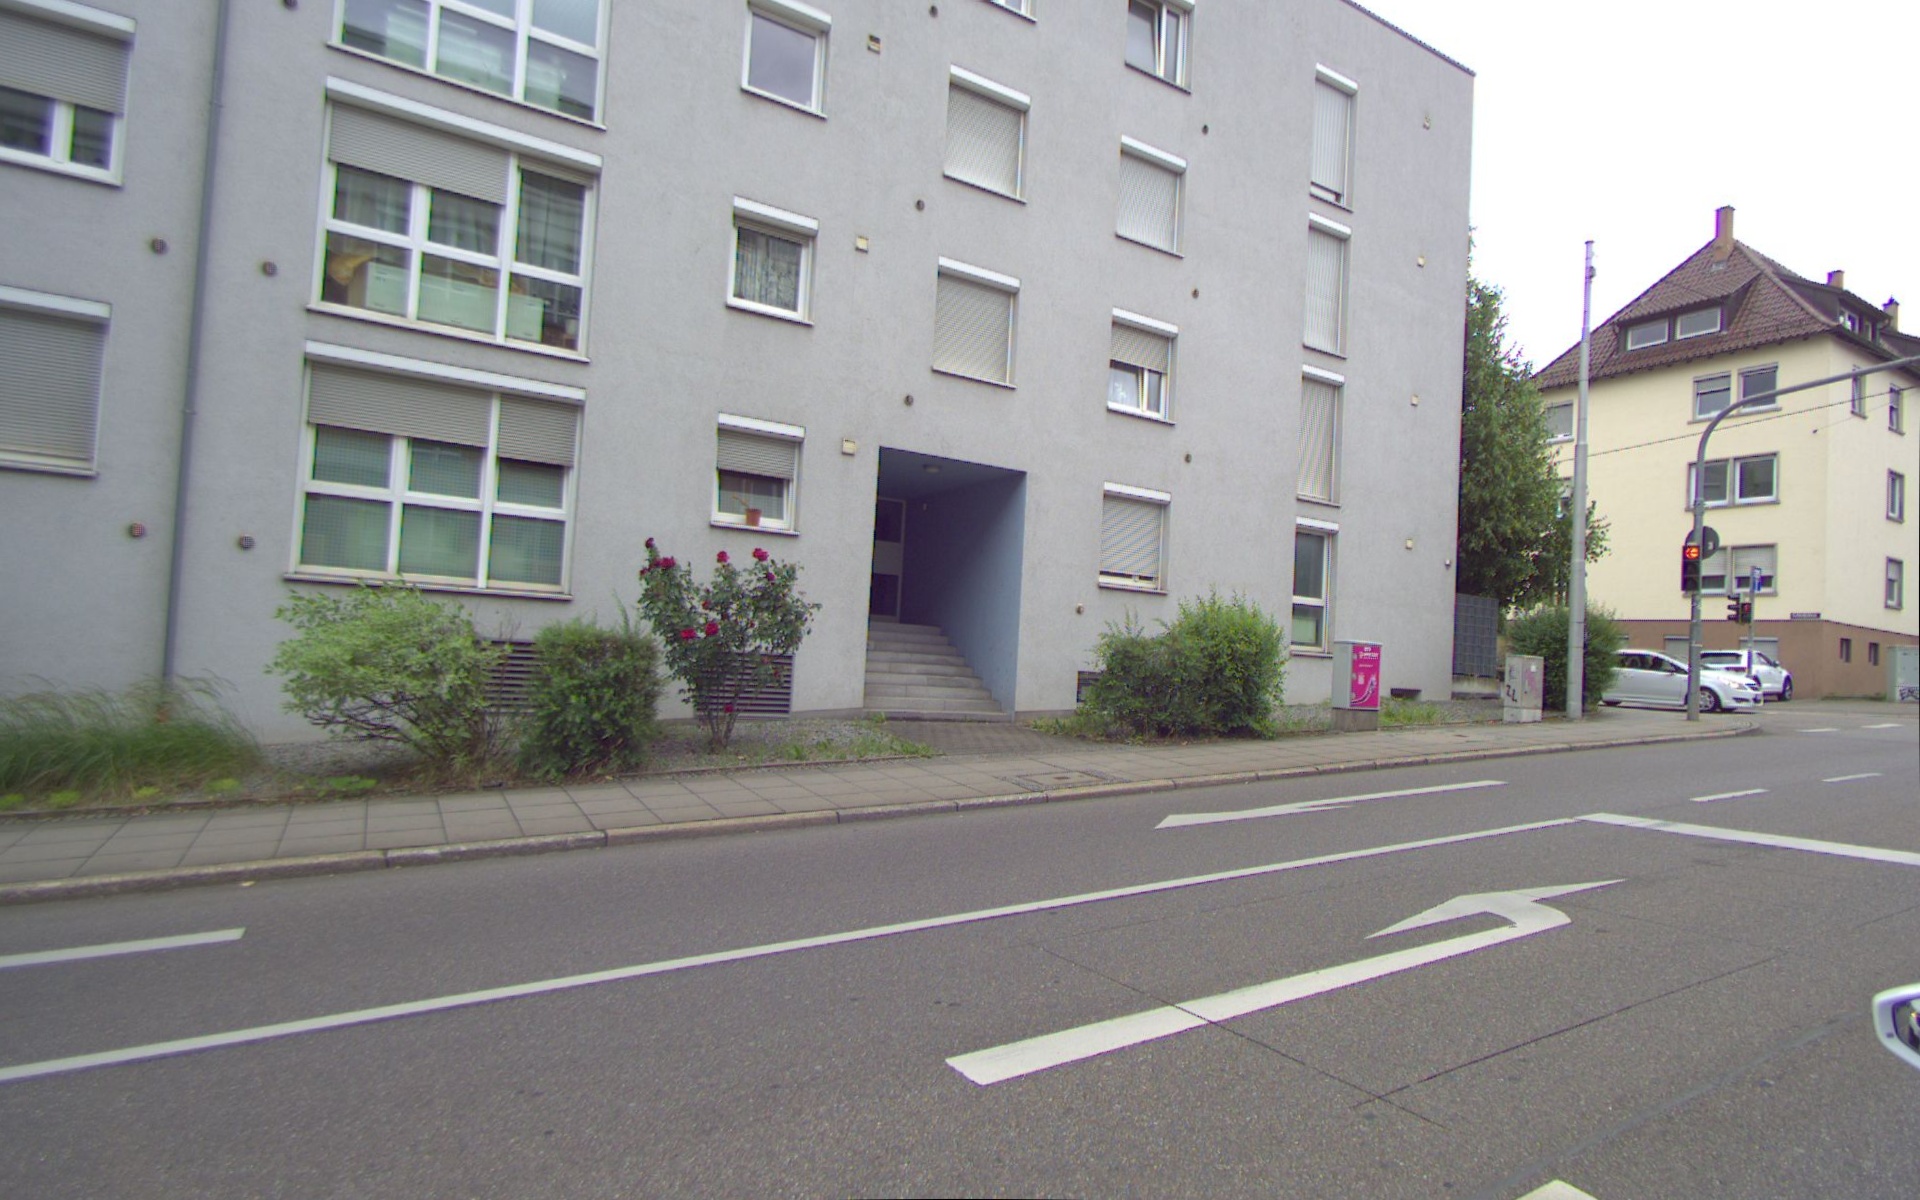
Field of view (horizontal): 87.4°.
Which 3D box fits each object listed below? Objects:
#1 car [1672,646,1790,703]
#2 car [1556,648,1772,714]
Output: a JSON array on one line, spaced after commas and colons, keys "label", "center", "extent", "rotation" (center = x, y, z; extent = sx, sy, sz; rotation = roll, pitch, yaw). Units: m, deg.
[{"label": "car", "center": [23.048, 2.196, 29.999], "extent": [3.727, 1.575, 1.681], "rotation": [1, -4, -34]}, {"label": "car", "center": [17.172, 1.929, 24.687], "extent": [1.679, 1.411, 4.031], "rotation": [2, -2, -34]}]
